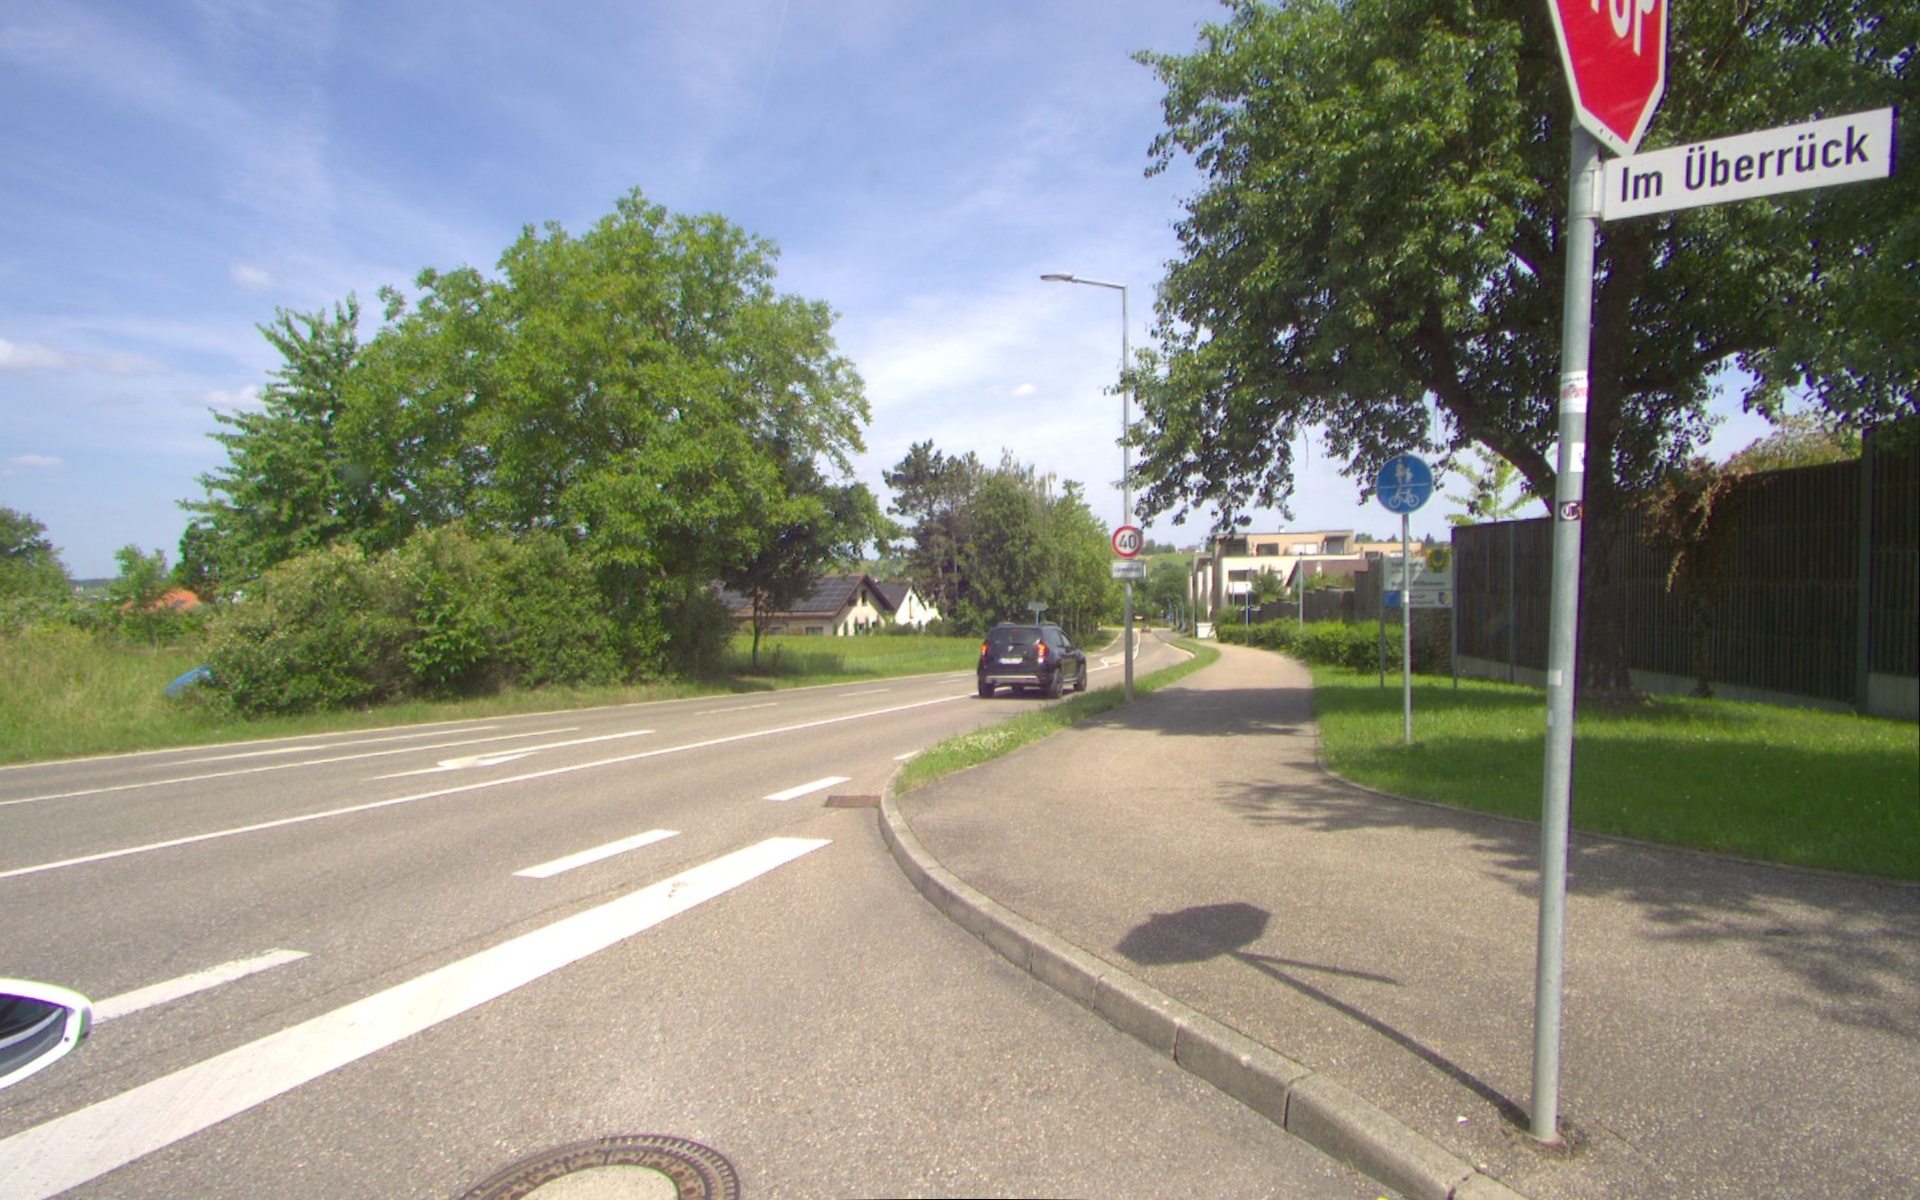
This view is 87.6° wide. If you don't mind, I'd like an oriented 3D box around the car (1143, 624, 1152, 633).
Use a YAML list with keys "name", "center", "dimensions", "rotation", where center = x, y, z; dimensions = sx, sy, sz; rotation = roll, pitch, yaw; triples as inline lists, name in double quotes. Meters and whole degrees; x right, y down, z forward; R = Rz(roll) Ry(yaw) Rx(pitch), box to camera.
- name: "car"
  center: [34.240, 5.300, 182.923]
  dimensions: [1.625, 1.623, 3.796]
  rotation: [0, -2, 9]

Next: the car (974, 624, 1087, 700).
- name: "car"
  center: [1.728, 1.366, 23.191]
  dimensions: [1.797, 1.601, 3.996]
  rotation: [0, -2, 17]
